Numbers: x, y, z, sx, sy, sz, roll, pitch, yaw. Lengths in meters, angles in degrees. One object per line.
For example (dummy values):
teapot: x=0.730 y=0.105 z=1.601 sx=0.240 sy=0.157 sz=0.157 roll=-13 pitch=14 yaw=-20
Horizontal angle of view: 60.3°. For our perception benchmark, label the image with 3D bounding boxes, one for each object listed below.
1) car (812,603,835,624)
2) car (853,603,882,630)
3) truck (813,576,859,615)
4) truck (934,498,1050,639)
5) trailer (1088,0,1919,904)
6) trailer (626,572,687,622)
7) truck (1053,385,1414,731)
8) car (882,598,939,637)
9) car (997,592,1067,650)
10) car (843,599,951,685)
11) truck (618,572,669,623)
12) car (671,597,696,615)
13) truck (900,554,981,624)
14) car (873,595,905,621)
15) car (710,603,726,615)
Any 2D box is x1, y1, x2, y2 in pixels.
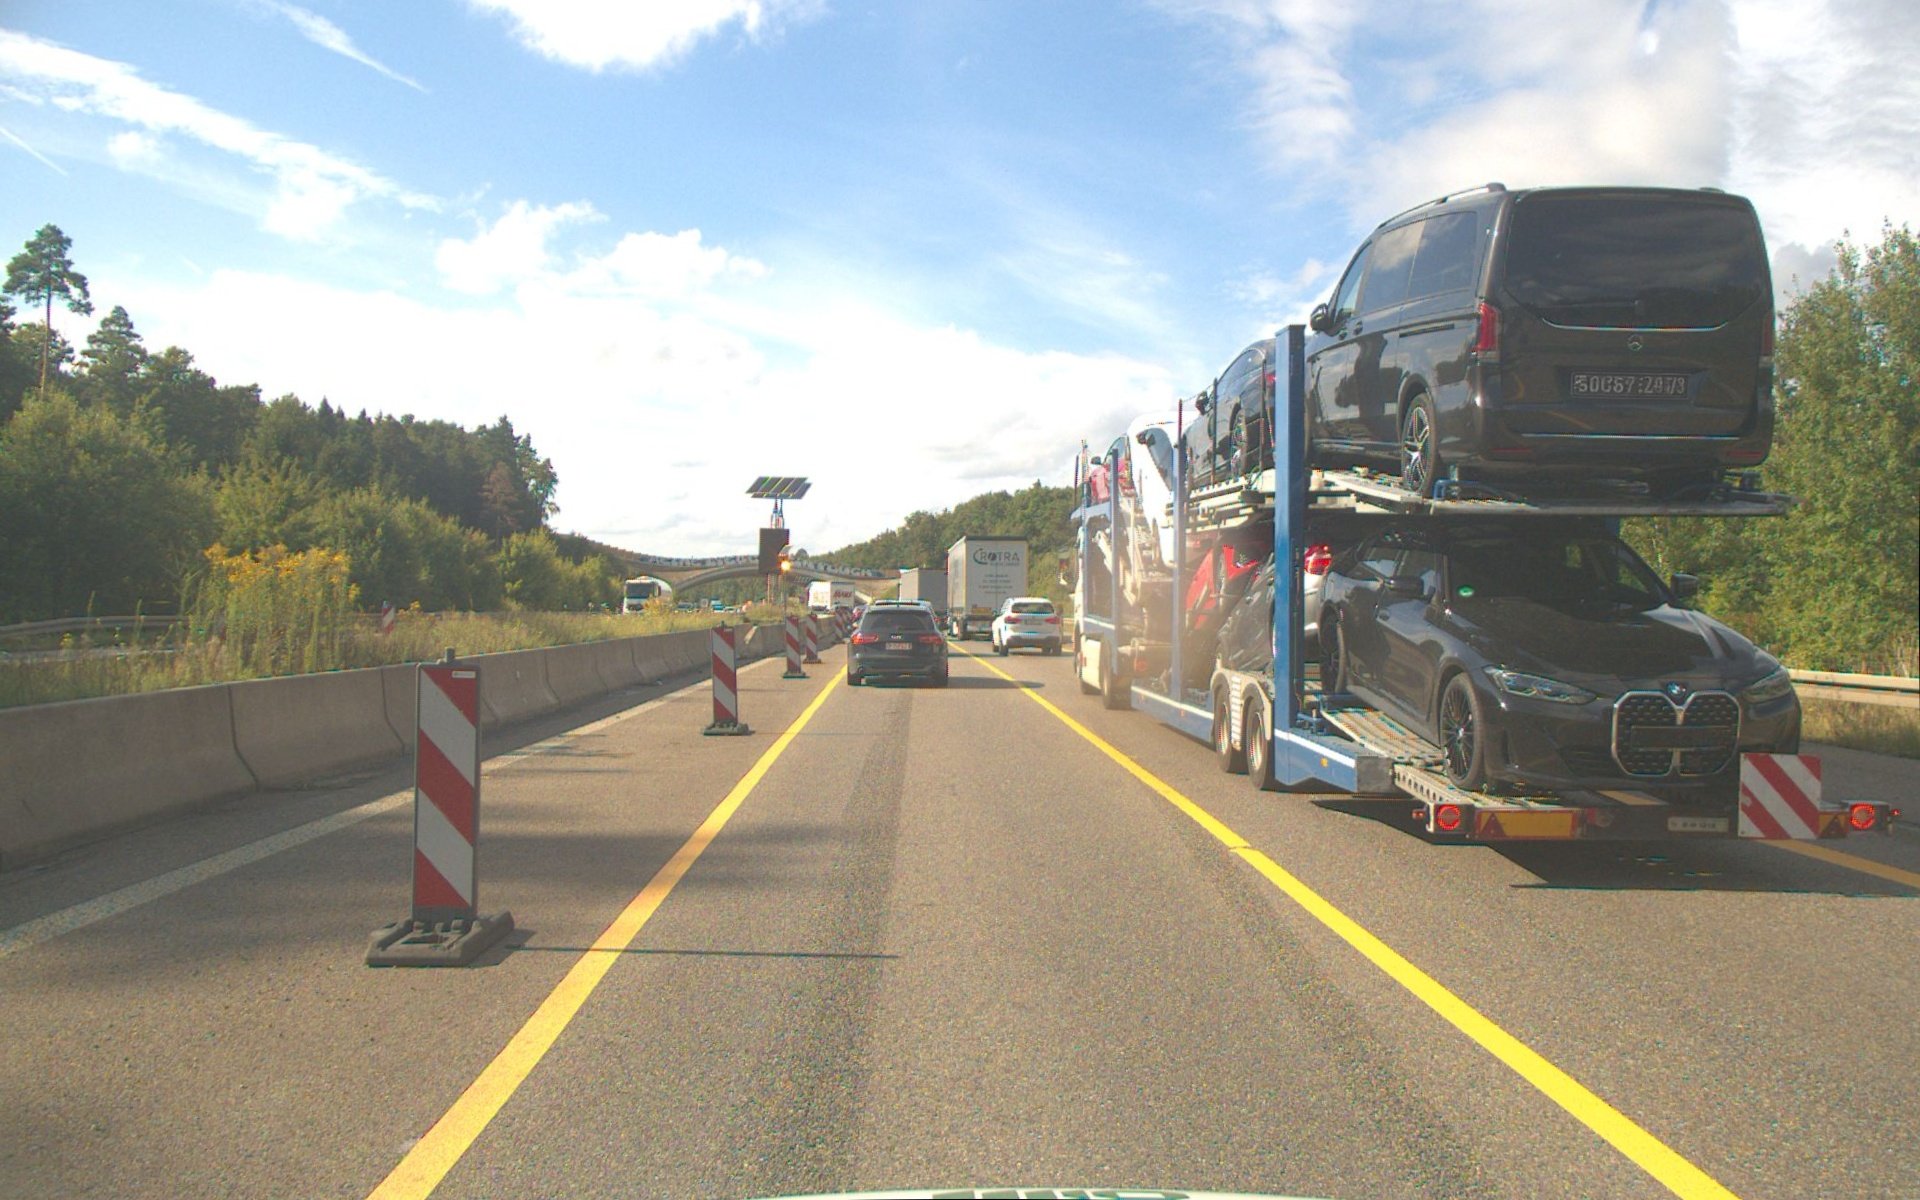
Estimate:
car: x=-13.092 y=1.297 z=158.876 sx=1.956 sy=2.049 sz=3.992 roll=1 pitch=0 yaw=-8
car: x=-6.987 y=1.237 z=124.795 sx=1.955 sy=2.049 sz=3.995 roll=1 pitch=0 yaw=-6
truck: x=-13.097 y=-0.427 z=173.749 sx=3.589 sy=3.997 sz=11.037 roll=1 pitch=0 yaw=-11
truck: x=1.128 y=-1.185 z=72.829 sx=3.605 sy=5.447 sz=16.186 roll=1 pitch=0 yaw=-4
trailer: x=4.088 y=-0.640 z=16.002 sx=3.652 sy=4.270 sz=16.217 roll=1 pitch=0 yaw=-3
trailer: x=-22.781 y=-0.195 z=124.631 sx=2.745 sy=3.551 sz=11.109 roll=1 pitch=0 yaw=-1
truck: x=3.644 y=-0.487 z=24.575 sx=3.686 sy=4.270 sz=7.946 roll=1 pitch=0 yaw=-3
car: x=-1.965 y=0.665 z=64.953 sx=1.854 sy=1.472 sz=3.993 roll=1 pitch=0 yaw=-8
car: x=2.139 y=0.632 z=50.088 sx=1.852 sy=1.672 sz=4.017 roll=1 pitch=0 yaw=-1
car: x=-1.125 y=0.743 z=30.738 sx=1.852 sy=1.472 sz=3.999 roll=1 pitch=0 yaw=-1
truck: x=-22.617 y=-0.139 z=118.480 sx=2.728 sy=3.551 sz=4.938 roll=1 pitch=0 yaw=-1
car: x=-26.174 y=0.599 z=156.457 sx=1.742 sy=1.630 sz=4.017 roll=1 pitch=0 yaw=-1
truck: x=-1.520 y=-0.715 z=117.713 sx=4.239 sy=4.681 sz=11.101 roll=1 pitch=0 yaw=-9
car: x=-4.633 y=0.528 z=107.217 sx=1.854 sy=1.672 sz=4.012 roll=1 pitch=0 yaw=-6
car: x=-33.766 y=1.206 z=231.134 sx=1.742 sy=1.630 sz=4.017 roll=1 pitch=0 yaw=-1
